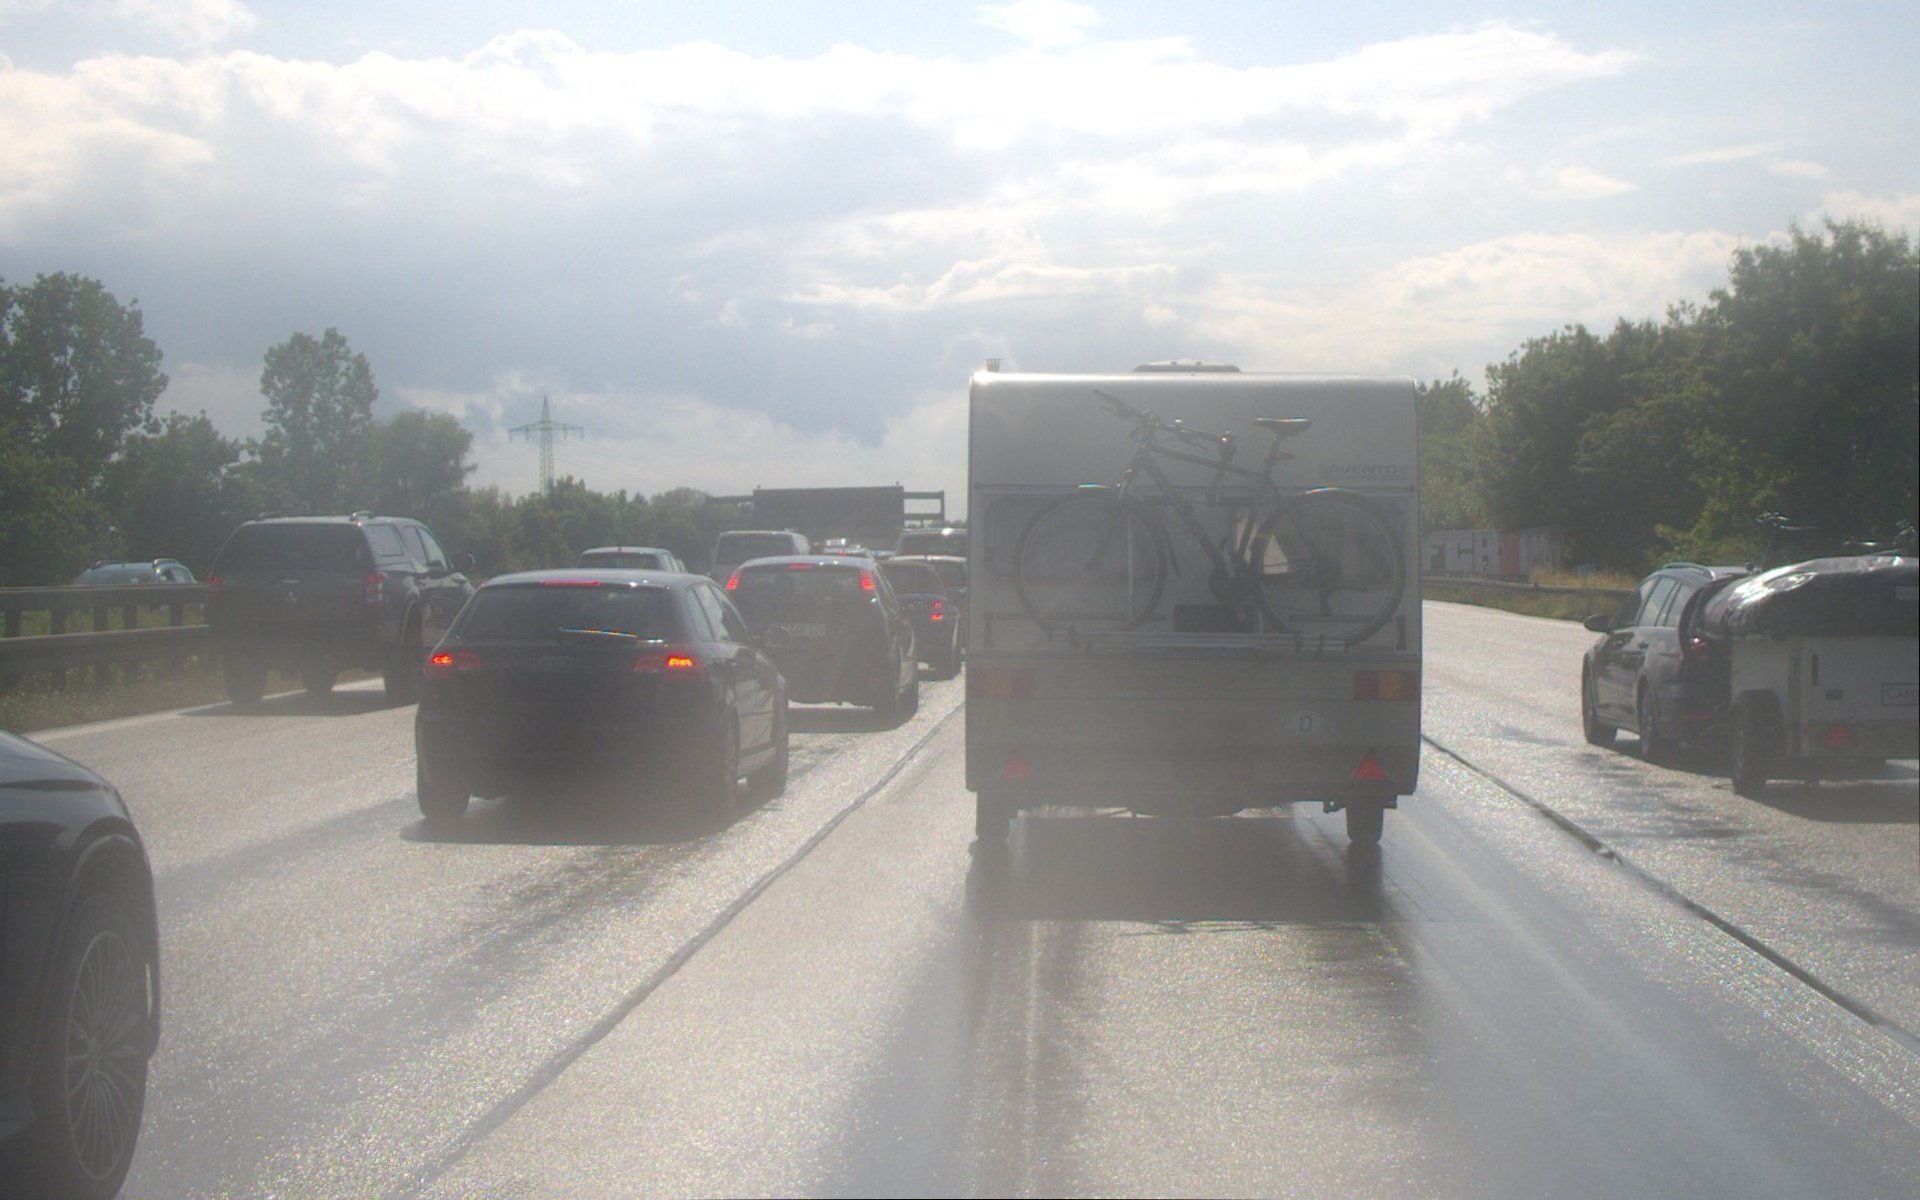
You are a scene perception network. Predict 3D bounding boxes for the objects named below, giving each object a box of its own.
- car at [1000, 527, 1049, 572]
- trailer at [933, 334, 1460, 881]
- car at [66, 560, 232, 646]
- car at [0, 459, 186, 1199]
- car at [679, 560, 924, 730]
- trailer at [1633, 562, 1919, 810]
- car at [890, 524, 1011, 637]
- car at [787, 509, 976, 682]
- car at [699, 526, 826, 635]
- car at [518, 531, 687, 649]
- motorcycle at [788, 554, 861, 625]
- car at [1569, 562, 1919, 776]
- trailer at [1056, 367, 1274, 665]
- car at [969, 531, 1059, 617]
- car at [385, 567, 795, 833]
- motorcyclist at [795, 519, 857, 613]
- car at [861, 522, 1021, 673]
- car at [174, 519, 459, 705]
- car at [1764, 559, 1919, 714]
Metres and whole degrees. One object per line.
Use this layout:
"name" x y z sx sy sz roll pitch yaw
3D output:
"car" 2.592 -2.042 138.447 1.876 1.754 4.000 1 1 0
"trailer" 1.223 0.001 19.061 2.374 2.475 6.522 1 1 2
"car" -13.492 0.020 57.384 1.757 1.375 3.876 0 1 2
"car" -2.930 0.555 5.861 1.994 1.656 4.405 0 0 3
"car" -1.356 0.359 30.934 1.806 1.402 4.000 1 1 3
"trailer" 5.598 0.479 22.174 1.855 1.437 4.147 0 1 2
"car" -0.138 -0.380 64.526 1.994 2.007 4.000 1 1 3
"car" -0.916 -0.075 42.504 1.994 2.007 4.000 1 1 3
"car" -3.935 -0.403 69.136 1.994 2.007 4.000 4 1 3
"car" -5.577 -0.180 54.075 1.994 1.766 4.000 1 1 3
"motorcycle" -2.461 -0.205 63.003 1.074 1.267 2.690 0 1 3
"car" 5.747 0.445 25.559 1.855 1.437 4.258 0 1 2
"trailer" 3.225 -1.234 52.540 3.007 4.152 8.534 1 1 5
"car" 1.334 -0.645 83.238 1.994 2.007 4.000 1 1 3
"car" -2.061 0.512 20.191 1.757 1.382 3.944 0 1 4
"motorcyclist" -2.456 -0.620 63.144 1.064 1.712 0.785 1 0 3
"car" -0.237 -0.058 50.811 1.994 2.007 4.000 4 1 3
"car" -6.332 0.093 34.265 1.993 1.714 4.000 1 1 1
"car" 9.336 0.331 34.790 1.671 1.477 3.671 0 1 2
